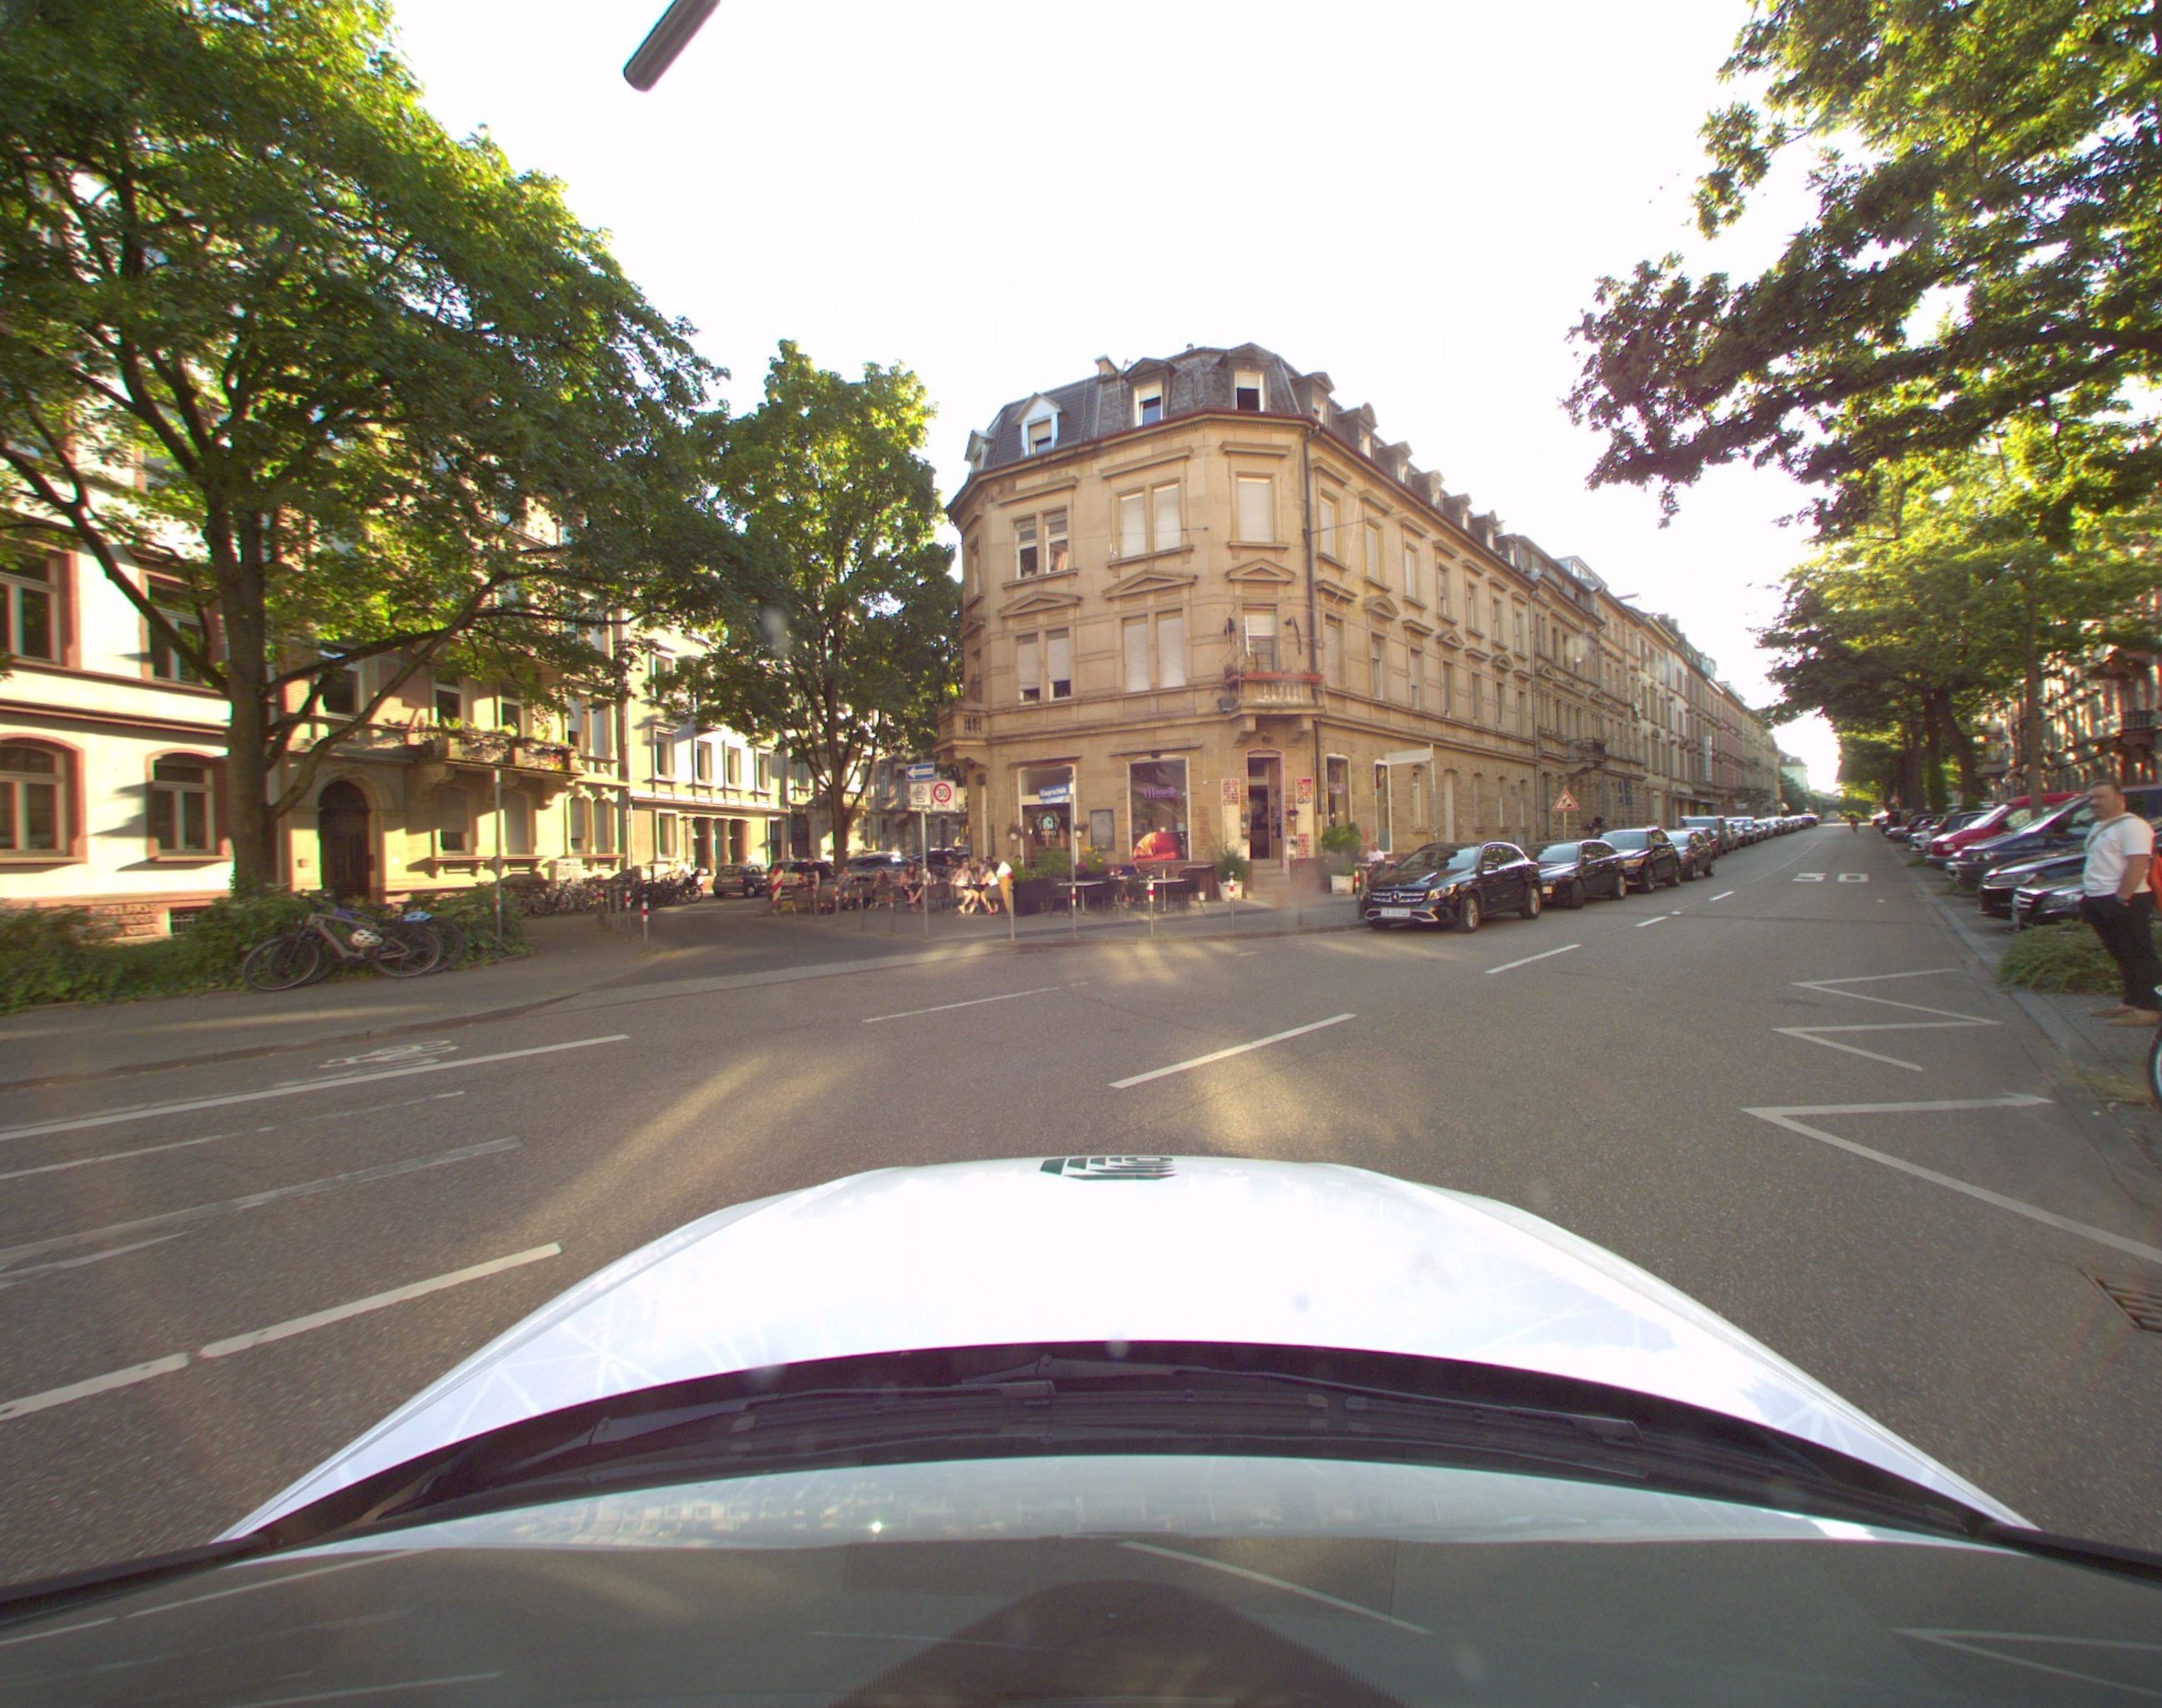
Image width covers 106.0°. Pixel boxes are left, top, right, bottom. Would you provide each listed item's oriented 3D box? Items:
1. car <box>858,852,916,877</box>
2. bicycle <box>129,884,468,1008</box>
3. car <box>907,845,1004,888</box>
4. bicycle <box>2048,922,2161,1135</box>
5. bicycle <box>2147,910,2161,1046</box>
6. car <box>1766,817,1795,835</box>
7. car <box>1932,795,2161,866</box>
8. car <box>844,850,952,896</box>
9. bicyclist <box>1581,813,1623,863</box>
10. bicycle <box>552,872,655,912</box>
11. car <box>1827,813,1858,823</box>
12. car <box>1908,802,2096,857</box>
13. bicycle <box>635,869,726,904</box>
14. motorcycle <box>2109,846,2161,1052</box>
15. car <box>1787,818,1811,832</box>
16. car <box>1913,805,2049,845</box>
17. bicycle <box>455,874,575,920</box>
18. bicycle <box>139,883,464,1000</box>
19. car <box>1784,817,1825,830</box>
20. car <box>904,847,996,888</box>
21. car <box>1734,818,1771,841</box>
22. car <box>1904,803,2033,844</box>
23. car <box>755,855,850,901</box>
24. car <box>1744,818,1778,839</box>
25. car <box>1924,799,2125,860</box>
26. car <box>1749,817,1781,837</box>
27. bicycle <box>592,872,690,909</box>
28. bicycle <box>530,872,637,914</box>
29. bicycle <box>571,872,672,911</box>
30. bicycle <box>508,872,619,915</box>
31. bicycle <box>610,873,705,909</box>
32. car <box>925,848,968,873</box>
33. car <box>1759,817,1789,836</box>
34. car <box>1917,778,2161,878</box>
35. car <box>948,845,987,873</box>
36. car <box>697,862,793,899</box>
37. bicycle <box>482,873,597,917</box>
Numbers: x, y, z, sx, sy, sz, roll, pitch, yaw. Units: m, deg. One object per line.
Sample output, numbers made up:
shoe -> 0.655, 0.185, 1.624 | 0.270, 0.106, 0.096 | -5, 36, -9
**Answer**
car -> -11.514, 0.596, 48.553 | 1.911, 1.376, 3.763 | -2, 0, 11
bicycle -> -9.582, 1.063, 10.204 | 2.975, 1.196, 0.541 | -2, 0, -42
car -> -5.361, 0.521, 35.138 | 3.983, 1.684, 1.995 | -2, 0, -7
bicycle -> 5.753, 0.843, 4.216 | 1.411, 0.927, 0.352 | -3, -2, -16
bicycle -> 7.091, 0.742, 4.157 | 1.912, 0.927, 0.356 | -6, -3, 44
car -> 63.033, -2.514, 73.378 | 1.742, 1.473, 4.084 | -3, 0, 43
car -> 26.871, -0.597, 22.772 | 1.847, 1.628, 4.149 | -2, -2, -42
car -> -7.119, 0.713, 31.633 | 3.838, 1.562, 1.790 | -2, 0, -21
bicyclist -> 19.072, -0.580, 29.788 | 1.214, 1.789, 0.987 | -2, 0, -44
bicycle -> -15.529, 1.235, 26.497 | 3.108, 1.180, 0.754 | -2, 0, 9
car -> 142.884, -6.750, 152.784 | 1.759, 1.859, 3.955 | -3, 1, -37
car -> 33.533, -0.885, 29.871 | 4.303, 1.556, 1.861 | -6, -1, 44
bicycle -> -14.800, 1.197, 30.081 | 3.108, 1.180, 0.754 | -2, 0, 9
motorcycle -> 7.459, 0.530, 4.619 | 0.690, 1.234, 1.880 | -2, -2, -45
car -> 85.684, -3.446, 97.147 | 1.975, 1.486, 4.024 | -2, -1, 43
car -> 40.764, -1.268, 37.048 | 3.972, 1.467, 1.744 | -5, -2, 44
bicycle -> -16.129, 1.233, 23.224 | 3.108, 1.180, 0.754 | -2, 0, 9
bicycle -> -9.973, 1.057, 10.643 | 2.975, 1.196, 0.541 | -2, 0, -42
car -> 92.904, -3.951, 104.611 | 3.992, 1.486, 1.991 | -1, -1, -14
car -> -6.095, 0.606, 37.736 | 3.996, 1.684, 1.989 | -2, 0, -16
car -> 47.511, -1.739, 57.629 | 1.742, 1.473, 4.084 | -3, 0, 43
car -> 42.246, -1.409, 38.924 | 3.972, 1.607, 1.744 | -5, -2, 44
car -> -11.329, 0.931, 33.440 | 1.982, 1.684, 4.010 | -2, 0, 8
car -> 51.789, -1.974, 62.025 | 1.742, 1.473, 4.084 | -3, 0, 43
car -> 30.232, -0.742, 26.311 | 3.972, 1.628, 1.816 | -5, -2, 43
car -> 55.118, -2.193, 65.615 | 1.742, 1.473, 4.084 | -3, 0, 43
bicycle -> -15.194, 1.257, 28.124 | 3.108, 1.180, 0.754 | -2, 0, 9
bicycle -> -15.670, 1.222, 25.674 | 3.108, 1.180, 0.754 | -2, 0, 9
bicycle -> -15.397, 1.246, 27.300 | 3.108, 1.180, 0.754 | -2, 0, 9
bicycle -> -15.824, 1.214, 24.897 | 3.108, 1.180, 0.754 | -2, 0, 9
bicycle -> -15.049, 1.313, 28.960 | 3.108, 1.180, 0.754 | -2, 0, 9
car -> -9.628, 0.441, 58.676 | 1.795, 1.684, 3.763 | -2, 0, 11
car -> 59.589, -2.402, 70.035 | 1.742, 1.473, 4.084 | -3, 0, 43
car -> 23.240, -0.589, 19.243 | 4.630, 2.033, 1.890 | -5, -2, 42
car -> -8.829, 0.371, 63.734 | 1.795, 2.085, 3.763 | -2, 0, 11
car -> -14.078, 1.073, 34.367 | 1.911, 1.376, 3.763 | -2, 0, 11
bicycle -> -15.997, 1.211, 24.062 | 3.108, 1.180, 0.754 | -2, 0, 9
